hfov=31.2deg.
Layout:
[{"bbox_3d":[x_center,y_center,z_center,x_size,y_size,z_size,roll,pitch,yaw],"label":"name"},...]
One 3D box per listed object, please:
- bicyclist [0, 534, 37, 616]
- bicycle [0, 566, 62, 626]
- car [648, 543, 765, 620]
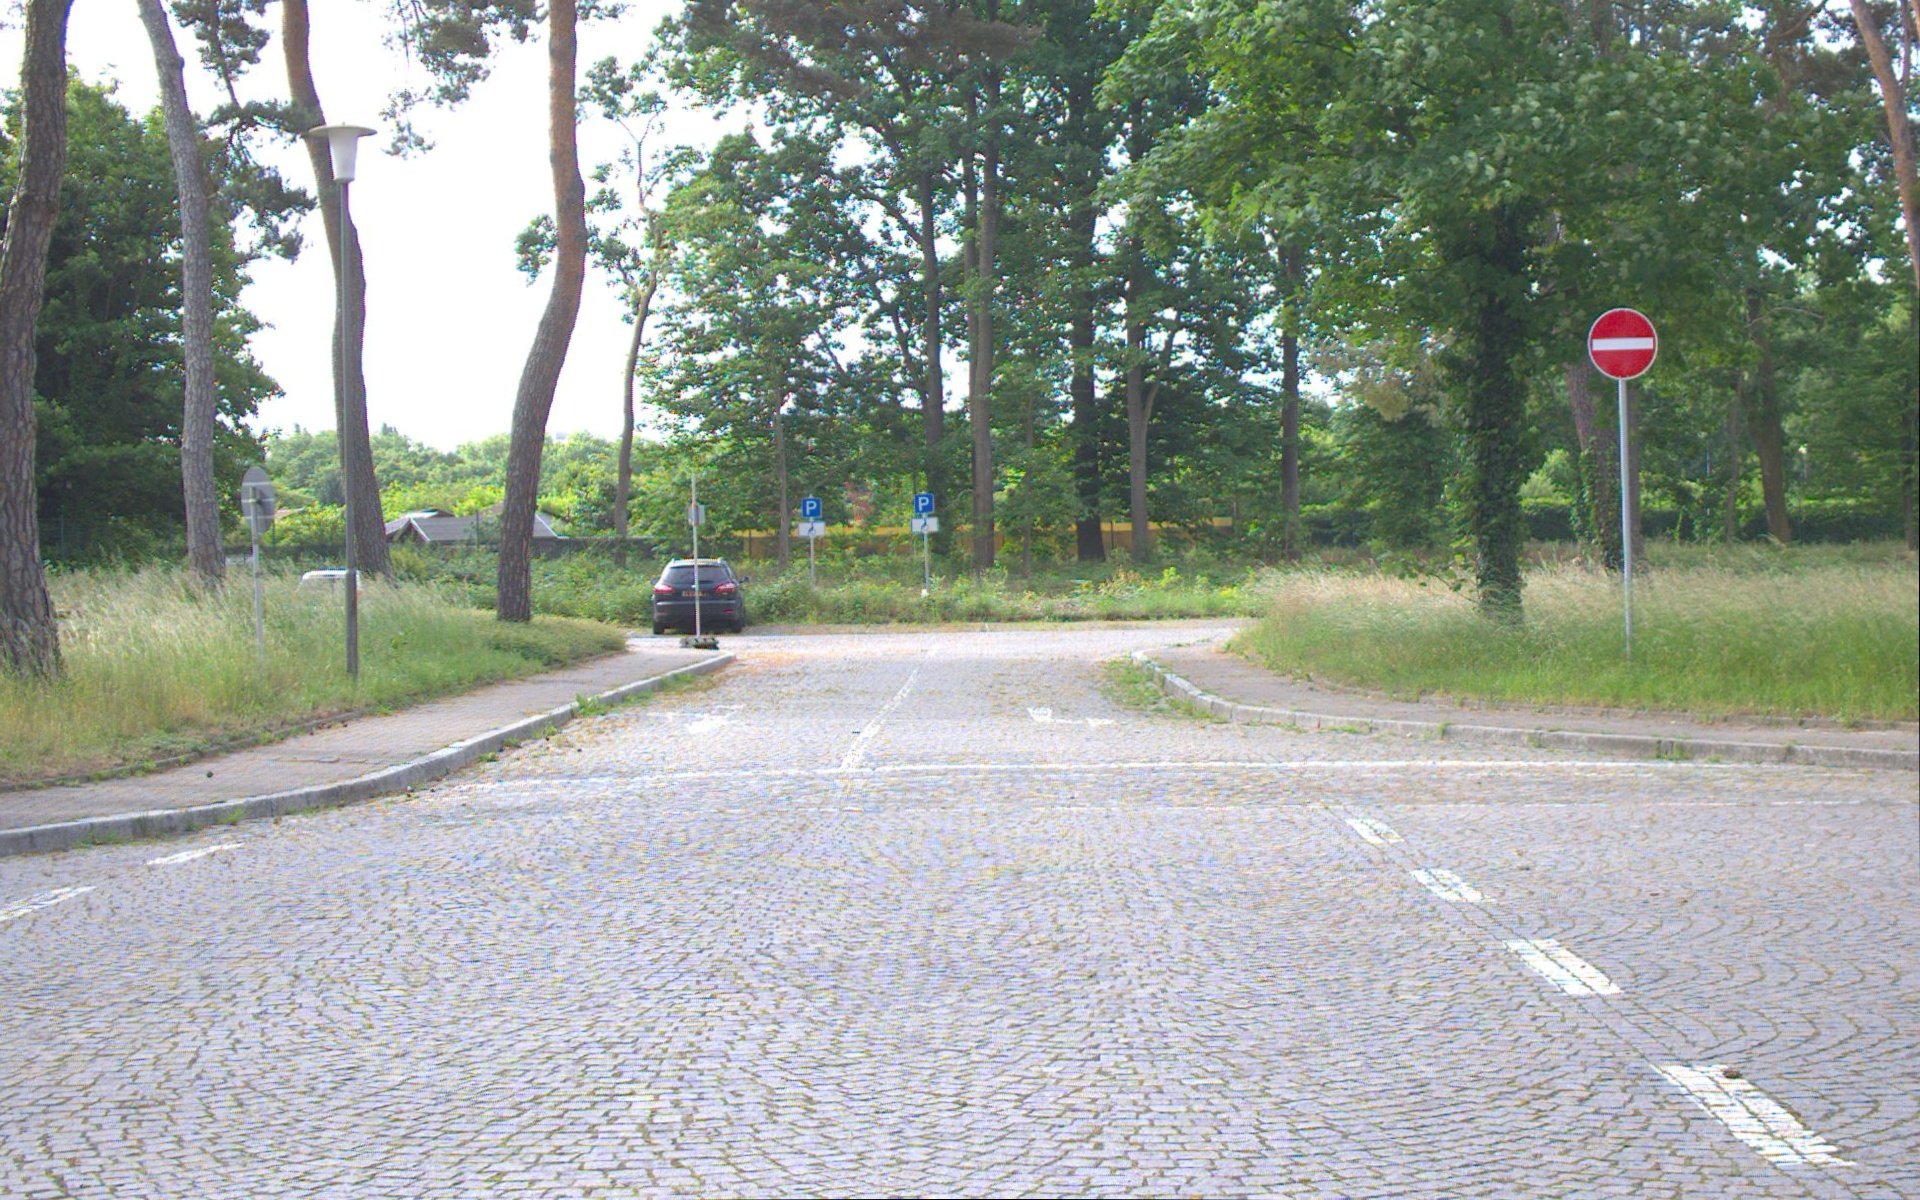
[{"bbox_3d":[-17.791,-0.472,64.021,0.974,1.505,0.807,-1,1,-2],"label":"bicyclist"},{"bbox_3d":[-17.822,-0.062,64.025,1.986,1.091,0.810,-1,1,-3],"label":"bicycle"},{"bbox_3d":[-5.207,-0.413,71.059,1.993,1.503,4.000,1,1,2],"label":"car"}]
